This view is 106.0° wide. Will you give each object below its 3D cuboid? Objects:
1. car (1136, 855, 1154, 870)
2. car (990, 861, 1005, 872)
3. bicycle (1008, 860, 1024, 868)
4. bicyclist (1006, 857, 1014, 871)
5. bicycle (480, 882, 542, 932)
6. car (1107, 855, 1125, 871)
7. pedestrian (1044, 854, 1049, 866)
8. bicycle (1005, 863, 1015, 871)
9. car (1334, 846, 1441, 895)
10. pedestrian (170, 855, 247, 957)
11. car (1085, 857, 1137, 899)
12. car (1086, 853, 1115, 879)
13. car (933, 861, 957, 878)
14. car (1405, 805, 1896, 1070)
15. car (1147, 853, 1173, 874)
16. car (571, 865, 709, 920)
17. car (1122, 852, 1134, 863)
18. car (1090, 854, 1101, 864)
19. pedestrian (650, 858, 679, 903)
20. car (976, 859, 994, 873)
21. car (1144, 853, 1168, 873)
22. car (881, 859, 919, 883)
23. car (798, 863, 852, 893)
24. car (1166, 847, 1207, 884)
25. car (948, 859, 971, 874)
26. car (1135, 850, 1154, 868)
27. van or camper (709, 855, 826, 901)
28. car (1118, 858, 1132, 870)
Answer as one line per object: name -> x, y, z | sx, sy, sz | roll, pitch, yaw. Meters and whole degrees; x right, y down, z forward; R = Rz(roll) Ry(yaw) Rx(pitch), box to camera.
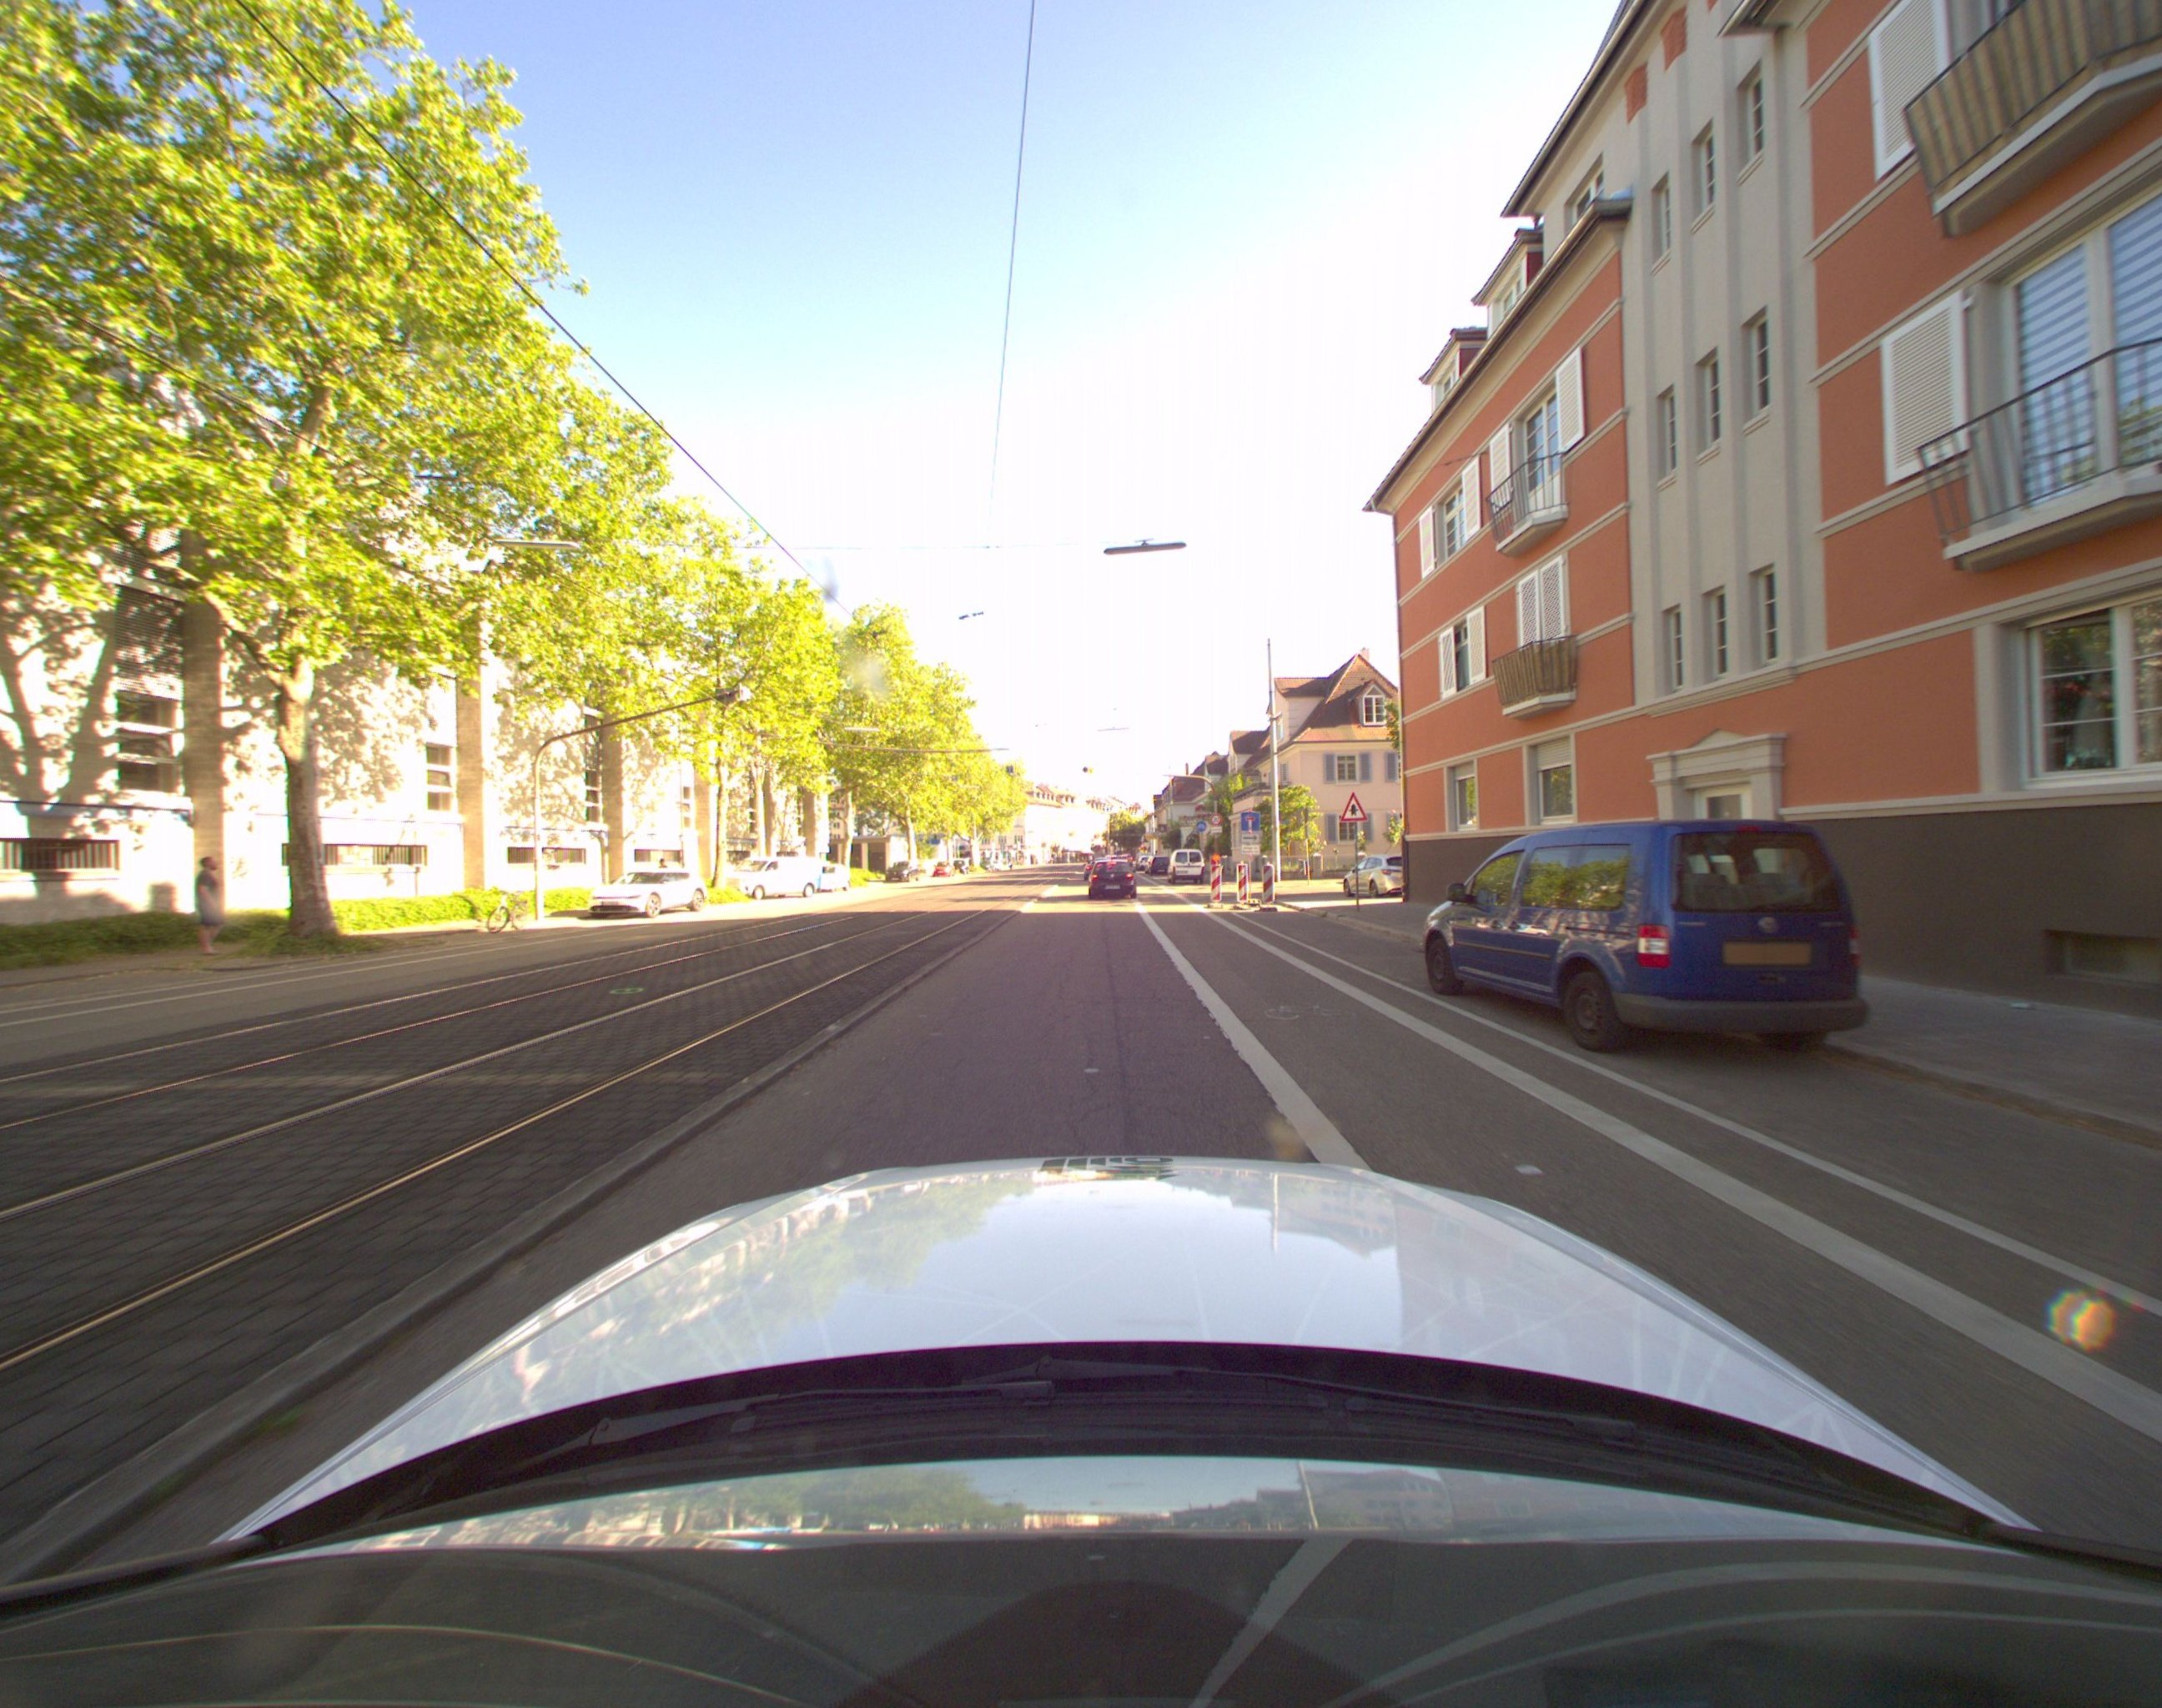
car -> 6.280, 0.816, 80.339 | 1.574, 1.375, 4.001 | -1, 0, 1
car -> -11.626, 1.708, 113.481 | 1.630, 1.472, 3.730 | -1, 0, 1
bicycle -> -11.122, 1.734, 139.681 | 2.733, 1.262, 0.706 | 0, 0, 1
bicyclist -> -9.761, 1.386, 111.968 | 0.910, 1.833, 0.960 | 0, 0, 1
bicycle -> -15.033, 1.374, 21.524 | 0.580, 1.209, 1.651 | 0, 0, -5
car -> 3.403, 0.851, 79.950 | 1.630, 1.472, 3.730 | -1, 0, 1
pedestrian -> -7.867, 1.301, 186.475 | 0.951, 2.659, 1.101 | 0, 0, 7
bicycle -> -9.758, 1.756, 111.890 | 0.910, 1.083, 3.204 | 0, 0, 1
car -> 9.801, 0.598, 26.405 | 1.697, 1.389, 4.514 | -2, -3, 0
pedestrian -> -16.614, 0.968, 15.516 | 0.779, 1.870, 0.673 | 0, 0, 11
car -> 1.040, 0.833, 29.839 | 1.743, 1.375, 4.000 | -2, 0, 0
car -> 1.249, 0.720, 51.798 | 1.742, 1.537, 3.893 | -2, 0, 2
car -> -13.065, 1.474, 78.251 | 1.564, 1.533, 3.573 | -1, -1, 1
car -> 4.763, 0.573, 7.727 | 1.697, 1.810, 4.271 | 0, 0, 0
car -> 6.061, 0.731, 62.654 | 1.655, 1.526, 4.037 | -1, 0, 1
car -> -14.467, 1.217, 27.101 | 2.005, 1.572, 4.693 | 0, 0, 0
car -> 6.674, 0.522, 116.080 | 1.630, 1.472, 3.730 | -1, 0, 1
car -> 2.311, 0.699, 125.321 | 1.630, 1.472, 3.730 | -2, 0, 1
pedestrian -> -16.923, 1.060, 33.084 | 0.794, 1.820, 0.670 | 0, 0, 1
car -> -12.556, 1.573, 107.153 | 1.877, 1.669, 3.804 | 0, 0, 0
car -> 6.147, 0.735, 67.103 | 1.742, 1.537, 3.957 | -2, 0, 2
car -> -13.641, 1.243, 61.666 | 1.881, 1.666, 4.001 | -1, 0, 1
car -> -14.037, 1.265, 44.914 | 1.568, 1.507, 4.091 | 0, 0, 1
car -> 5.507, 0.569, 42.896 | 1.752, 1.838, 3.548 | 0, 0, 1
car -> -13.004, 1.318, 87.467 | 1.786, 1.465, 3.837 | 1, 0, 1
car -> 6.613, 0.536, 85.272 | 1.811, 1.799, 4.001 | -1, 0, 1
van or camper -> -14.273, 1.019, 37.454 | 2.042, 1.949, 5.216 | 0, 0, 21
car -> 5.655, 1.279, 104.814 | 1.630, 1.472, 3.730 | -1, 0, 1
